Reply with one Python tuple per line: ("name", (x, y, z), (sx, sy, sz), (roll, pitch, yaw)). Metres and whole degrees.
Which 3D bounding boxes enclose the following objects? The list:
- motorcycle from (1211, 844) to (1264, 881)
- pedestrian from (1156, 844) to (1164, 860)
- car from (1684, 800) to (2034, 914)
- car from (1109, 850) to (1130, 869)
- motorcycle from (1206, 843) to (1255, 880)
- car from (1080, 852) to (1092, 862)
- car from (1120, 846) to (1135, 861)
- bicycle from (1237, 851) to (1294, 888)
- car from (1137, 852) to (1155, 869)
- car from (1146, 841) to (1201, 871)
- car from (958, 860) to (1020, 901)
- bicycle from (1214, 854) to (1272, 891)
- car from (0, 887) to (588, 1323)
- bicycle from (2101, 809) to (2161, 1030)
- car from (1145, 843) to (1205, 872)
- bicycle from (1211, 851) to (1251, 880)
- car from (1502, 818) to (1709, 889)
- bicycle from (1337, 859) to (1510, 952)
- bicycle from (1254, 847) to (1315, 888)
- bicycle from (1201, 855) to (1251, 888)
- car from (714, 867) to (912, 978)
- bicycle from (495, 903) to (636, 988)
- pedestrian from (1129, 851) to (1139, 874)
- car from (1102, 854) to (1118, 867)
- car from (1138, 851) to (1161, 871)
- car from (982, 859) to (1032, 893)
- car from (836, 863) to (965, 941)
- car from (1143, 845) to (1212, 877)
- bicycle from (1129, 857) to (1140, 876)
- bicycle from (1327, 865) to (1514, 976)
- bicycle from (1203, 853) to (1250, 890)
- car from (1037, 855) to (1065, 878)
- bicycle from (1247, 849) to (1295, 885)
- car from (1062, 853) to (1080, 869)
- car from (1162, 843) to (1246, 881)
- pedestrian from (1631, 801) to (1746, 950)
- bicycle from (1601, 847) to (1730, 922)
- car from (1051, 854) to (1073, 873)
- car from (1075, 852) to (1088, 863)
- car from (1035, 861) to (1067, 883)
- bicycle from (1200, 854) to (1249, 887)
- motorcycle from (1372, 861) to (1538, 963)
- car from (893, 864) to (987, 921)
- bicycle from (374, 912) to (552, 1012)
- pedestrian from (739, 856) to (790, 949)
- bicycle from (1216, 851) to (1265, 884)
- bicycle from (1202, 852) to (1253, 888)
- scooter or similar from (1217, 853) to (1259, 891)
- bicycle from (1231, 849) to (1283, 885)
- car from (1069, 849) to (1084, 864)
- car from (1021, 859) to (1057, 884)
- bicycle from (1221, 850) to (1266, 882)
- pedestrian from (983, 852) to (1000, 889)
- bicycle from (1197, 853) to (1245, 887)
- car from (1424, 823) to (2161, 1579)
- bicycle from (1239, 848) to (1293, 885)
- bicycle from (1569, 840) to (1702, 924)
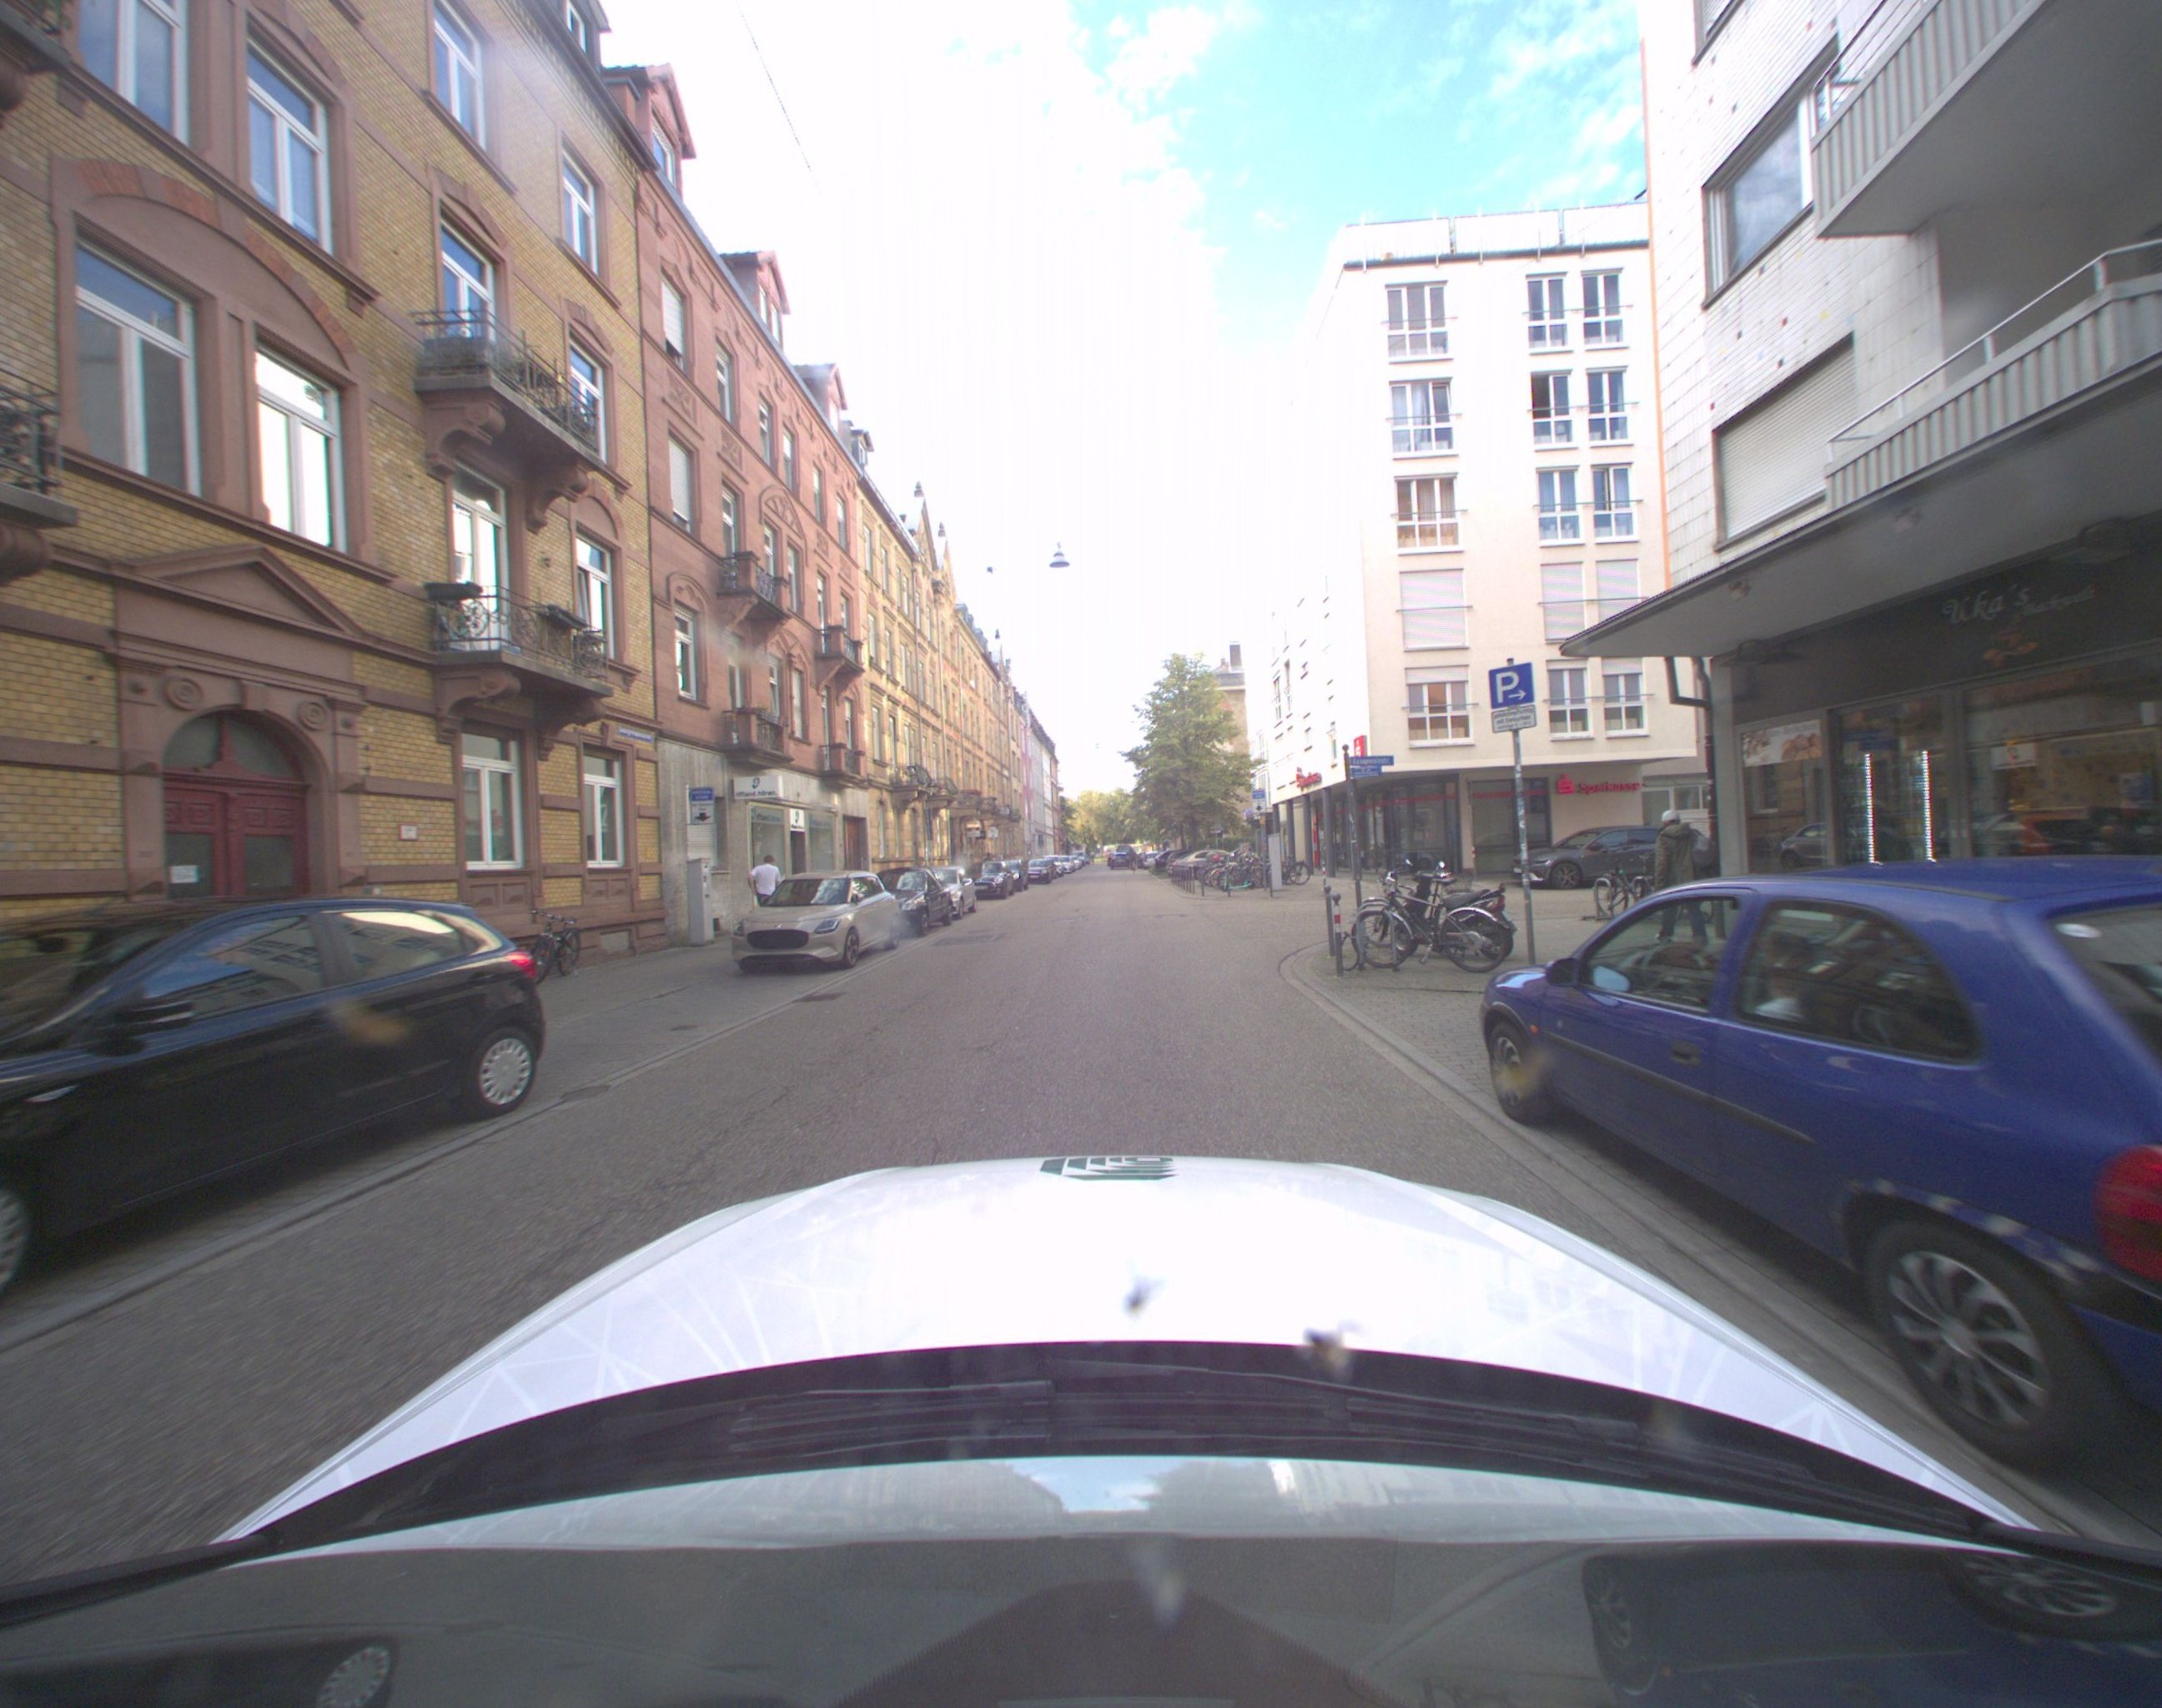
("motorcycle", (6.867, 0.372, 35.895), (2.139, 1.434, 0.767), (-5, 0, 6))
("pedestrian", (11.328, -0.272, 116.838), (0.991, 2.230, 0.899), (-2, 0, 3))
("car", (12.309, 0.052, 13.105), (3.769, 1.501, 1.798), (-3, -1, 2))
("car", (3.764, 0.579, 80.089), (1.957, 1.741, 4.044), (-2, -1, 3))
("motorcycle", (7.126, 0.350, 38.920), (2.139, 1.530, 0.687), (-5, 0, 6))
("car", (0.827, 0.497, 128.658), (1.580, 1.539, 3.757), (-2, 0, 4))
("car", (6.195, -0.077, 108.797), (1.775, 2.020, 3.889), (-2, 0, 2))
("bicycle", (6.258, 0.523, 27.677), (1.757, 1.087, 0.651), (-5, 0, 4))
("car", (6.241, 0.585, 78.693), (1.683, 1.550, 3.691), (-2, 0, 3))
("car", (7.046, 0.119, 62.197), (3.966, 1.683, 1.741), (-5, 8, 6))
("car", (-3.479, 0.978, 31.562), (1.682, 1.386, 3.871), (-2, 0, 4))
("bicycle", (5.391, 0.617, 27.064), (1.761, 1.056, 0.411), (-5, 0, -3))
("car", (-4.721, 0.994, 4.179), (1.734, 1.483, 3.987), (-2, -1, 4))
("bicycle", (6.729, 0.359, 3.752), (0.915, 1.291, 2.501), (-5, 0, 3))
("car", (6.555, 0.256, 56.860), (3.965, 1.640, 2.004), (-5, 0, 7))
("bicycle", (6.871, 0.529, 37.241), (1.657, 1.159, 0.557), (-5, 0, 4))
("car", (14.053, -0.041, 22.015), (4.343, 1.630, 1.810), (-3, 2, 3))
("bicycle", (4.495, 0.679, 10.796), (0.694, 1.095, 1.939), (-2, -2, -45))
("bicycle", (6.638, 0.441, 26.615), (1.757, 1.162, 0.651), (-5, 0, 4))
("bicycle", (5.495, 0.652, 30.964), (1.757, 1.099, 0.412), (-5, 0, 5))
("car", (-4.269, 1.020, 13.674), (1.734, 1.483, 3.987), (-2, 0, 4))
("bicycle", (-7.687, 1.334, 12.259), (0.894, 1.037, 1.774), (-2, 0, 3))
("pedestrian", (3.832, 0.623, 58.753), (0.715, 1.650, 0.931), (-2, 0, 3))
("car", (3.406, 0.765, 95.456), (1.790, 1.472, 3.889), (-2, 0, 2))
("car", (6.193, 0.620, 74.244), (1.922, 1.638, 4.003), (-2, 0, 3))
("car", (-3.364, 0.962, 37.599), (1.682, 1.437, 3.871), (-2, 0, 4))
("car", (-3.937, 0.985, 18.425), (1.734, 1.483, 3.987), (-2, 0, 4))
("car", (5.892, 0.428, 49.762), (3.965, 1.583, 2.004), (-5, 0, 7))
("bicycle", (3.834, 0.882, 58.648), (0.715, 1.274, 1.886), (-2, 0, 3))
("bicycle", (3.790, 0.735, 9.196), (0.688, 1.095, 1.748), (-4, -1, -45))
("bicycle", (5.084, 0.603, 28.446), (1.492, 1.146, 0.411), (-5, 0, -3))
("car", (-2.187, 0.919, 60.389), (1.683, 1.550, 3.871), (-2, -1, 4))
("bicycle", (6.631, 0.448, 28.448), (1.489, 1.146, 0.412), (-5, 0, 2))
("car", (-1.053, 0.740, 87.363), (1.683, 1.550, 3.869), (-2, 0, 2))
("car", (6.207, 0.421, 41.214), (3.758, 1.546, 1.726), (-5, -1, -8))
("pedestrian", (6.884, 0.242, 9.279), (0.816, 1.588, 0.785), (-4, -1, 24))
("bicycle", (9.095, 0.460, 12.772), (0.444, 1.064, 1.923), (-3, -1, -5))
("car", (-1.681, 0.841, 72.179), (1.683, 1.550, 3.869), (-2, 0, 2))
("car", (0.104, 0.536, 118.929), (1.683, 1.550, 3.869), (-2, 0, 2))
("car", (-1.961, 1.190, 54.059), (1.683, 1.369, 3.871), (1, 0, 4))
("bicycle", (5.590, 0.645, 31.706), (1.757, 1.118, 0.412), (-5, 0, 5))
("motorcycle", (4.492, 0.693, 9.853), (0.612, 1.095, 1.644), (-4, -1, -45))
("car", (-3.831, 1.008, 22.826), (1.682, 1.386, 3.871), (-2, 0, 4))
("bicycle", (-7.842, 1.334, 10.456), (0.851, 1.037, 1.774), (-1, 0, 3))
("pedestrian", (-6.228, 0.933, 16.067), (0.729, 1.790, 0.771), (1, 0, -4))
("bicycle", (6.452, 0.556, 33.018), (1.777, 1.159, 0.503), (-5, 0, 28))
("bicycle", (5.338, 0.579, 29.604), (1.770, 1.146, 0.409), (-5, 0, -18))
("scooter or similar", (5.099, 0.596, 26.461), (1.193, 1.147, 0.381), (-5, 1, 34))
("bicycle", (6.378, 0.473, 29.500), (1.770, 1.146, 0.409), (-5, 0, -18))
("car", (-0.523, 0.351, 103.767), (1.683, 1.821, 3.869), (-2, 0, 2))
("car", (-2.447, 1.017, 48.105), (1.683, 1.369, 3.871), (1, 0, 4))
("bicycle", (6.754, 0.489, 33.885), (1.724, 1.159, 0.501), (-5, 0, 4))
("pedestrian", (-4.585, 0.827, 41.834), (0.686, 1.853, 0.932), (-2, 0, 4))
("bicycle", (5.603, 0.639, 32.641), (1.786, 1.159, 0.501), (-5, 0, 5))
("car", (3.021, 0.658, 3.461), (1.588, 1.439, 4.034), (-4, 0, 4))
("bicycle", (6.576, 0.453, 28.990), (1.762, 1.146, 0.411), (-5, 0, -4))
("bicycle", (8.568, 0.425, 12.697), (0.533, 1.191, 1.930), (-3, -1, -6))
